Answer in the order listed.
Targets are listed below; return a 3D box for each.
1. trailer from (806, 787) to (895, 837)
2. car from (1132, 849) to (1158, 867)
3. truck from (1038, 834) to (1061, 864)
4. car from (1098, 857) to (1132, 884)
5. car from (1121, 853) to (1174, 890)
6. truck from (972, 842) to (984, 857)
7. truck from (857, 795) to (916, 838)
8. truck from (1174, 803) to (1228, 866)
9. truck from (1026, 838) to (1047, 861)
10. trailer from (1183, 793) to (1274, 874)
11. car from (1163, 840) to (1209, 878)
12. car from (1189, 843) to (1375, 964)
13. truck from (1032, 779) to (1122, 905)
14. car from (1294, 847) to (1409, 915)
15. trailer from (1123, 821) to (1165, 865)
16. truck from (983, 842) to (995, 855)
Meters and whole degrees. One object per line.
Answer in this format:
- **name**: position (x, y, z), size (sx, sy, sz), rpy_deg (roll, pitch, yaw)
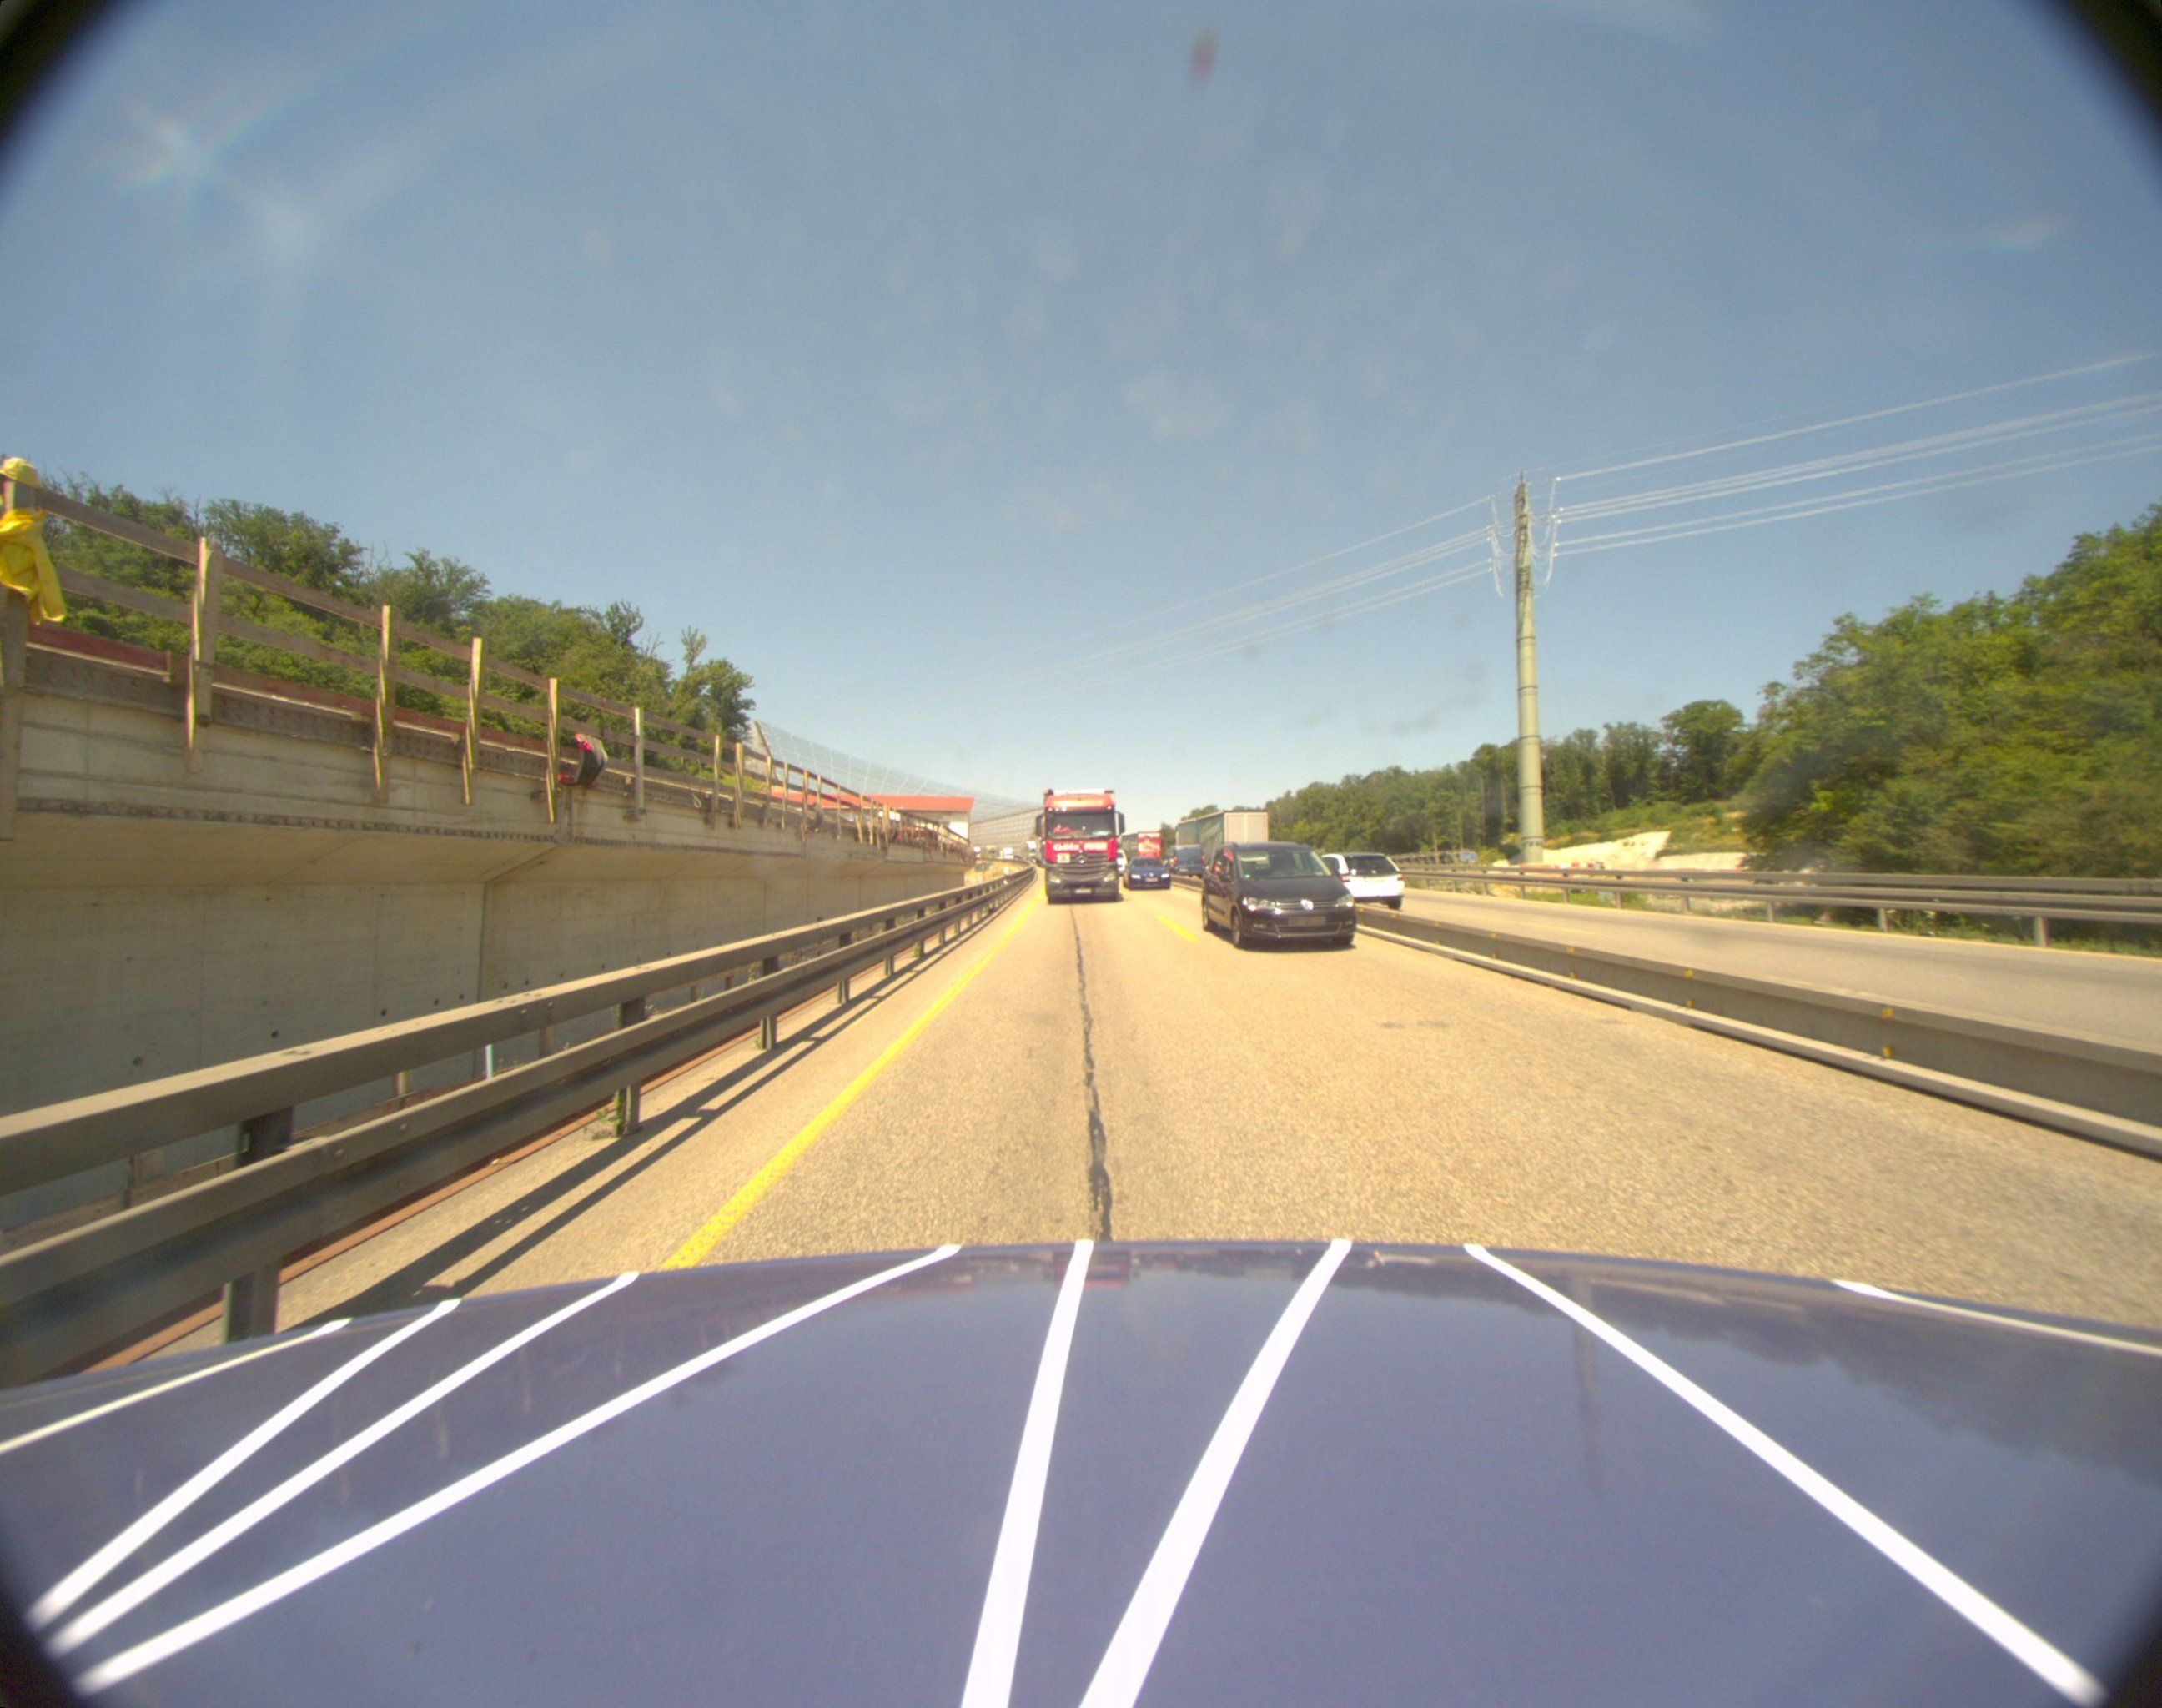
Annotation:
- **trailer**: position (-20.350, -3.615, 67.737), size (2.714, 3.672, 9.011), rpy_deg (-1, -2, 20)
- **car**: position (5.904, 0.322, 70.462), size (1.907, 1.454, 4.756), rpy_deg (-2, 1, -1)
- **truck**: position (-4.541, -0.812, 107.688), size (2.673, 3.986, 10.422), rpy_deg (-2, 1, -5)
- **car**: position (2.513, 1.214, 57.510), size (1.947, 1.858, 5.222), rpy_deg (-2, 0, -3)
- **car**: position (2.999, 0.784, 35.133), size (1.896, 1.546, 4.785), rpy_deg (-2, 0, -1)
- **truck**: position (-32.729, -1.451, 241.489), size (3.044, 4.778, 8.932), rpy_deg (-2, 1, -11)
- **truck**: position (-18.556, -3.507, 72.798), size (2.714, 3.672, 5.721), rpy_deg (-1, -2, 20)
- **truck**: position (9.272, -1.503, 59.288), size (2.854, 4.554, 5.784), rpy_deg (-2, 1, -3)
- **truck**: position (-8.426, -0.874, 142.925), size (2.912, 4.208, 9.231), rpy_deg (-2, 1, -10)
- **trailer**: position (9.593, -1.348, 51.549), size (2.841, 4.615, 14.575), rpy_deg (-2, 1, -2)
- **car**: position (6.493, 0.264, 47.524), size (1.999, 2.161, 4.830), rpy_deg (-2, 1, -2)
- **car**: position (3.275, 0.722, 13.587), size (1.861, 1.695, 5.303), rpy_deg (-2, 0, 0)
- **truck**: position (-0.182, -0.480, 29.748), size (2.798, 3.986, 10.426), rpy_deg (-2, 1, -1)
- **car**: position (6.965, 0.628, 20.004), size (1.585, 1.513, 4.153), rpy_deg (-2, 1, 1)
- **trailer**: position (7.468, -1.225, 92.309), size (3.073, 4.787, 13.997), rpy_deg (-2, 0, -3)
- **truck**: position (-28.097, -1.698, 232.800), size (3.042, 3.725, 8.245), rpy_deg (-2, 1, -3)
